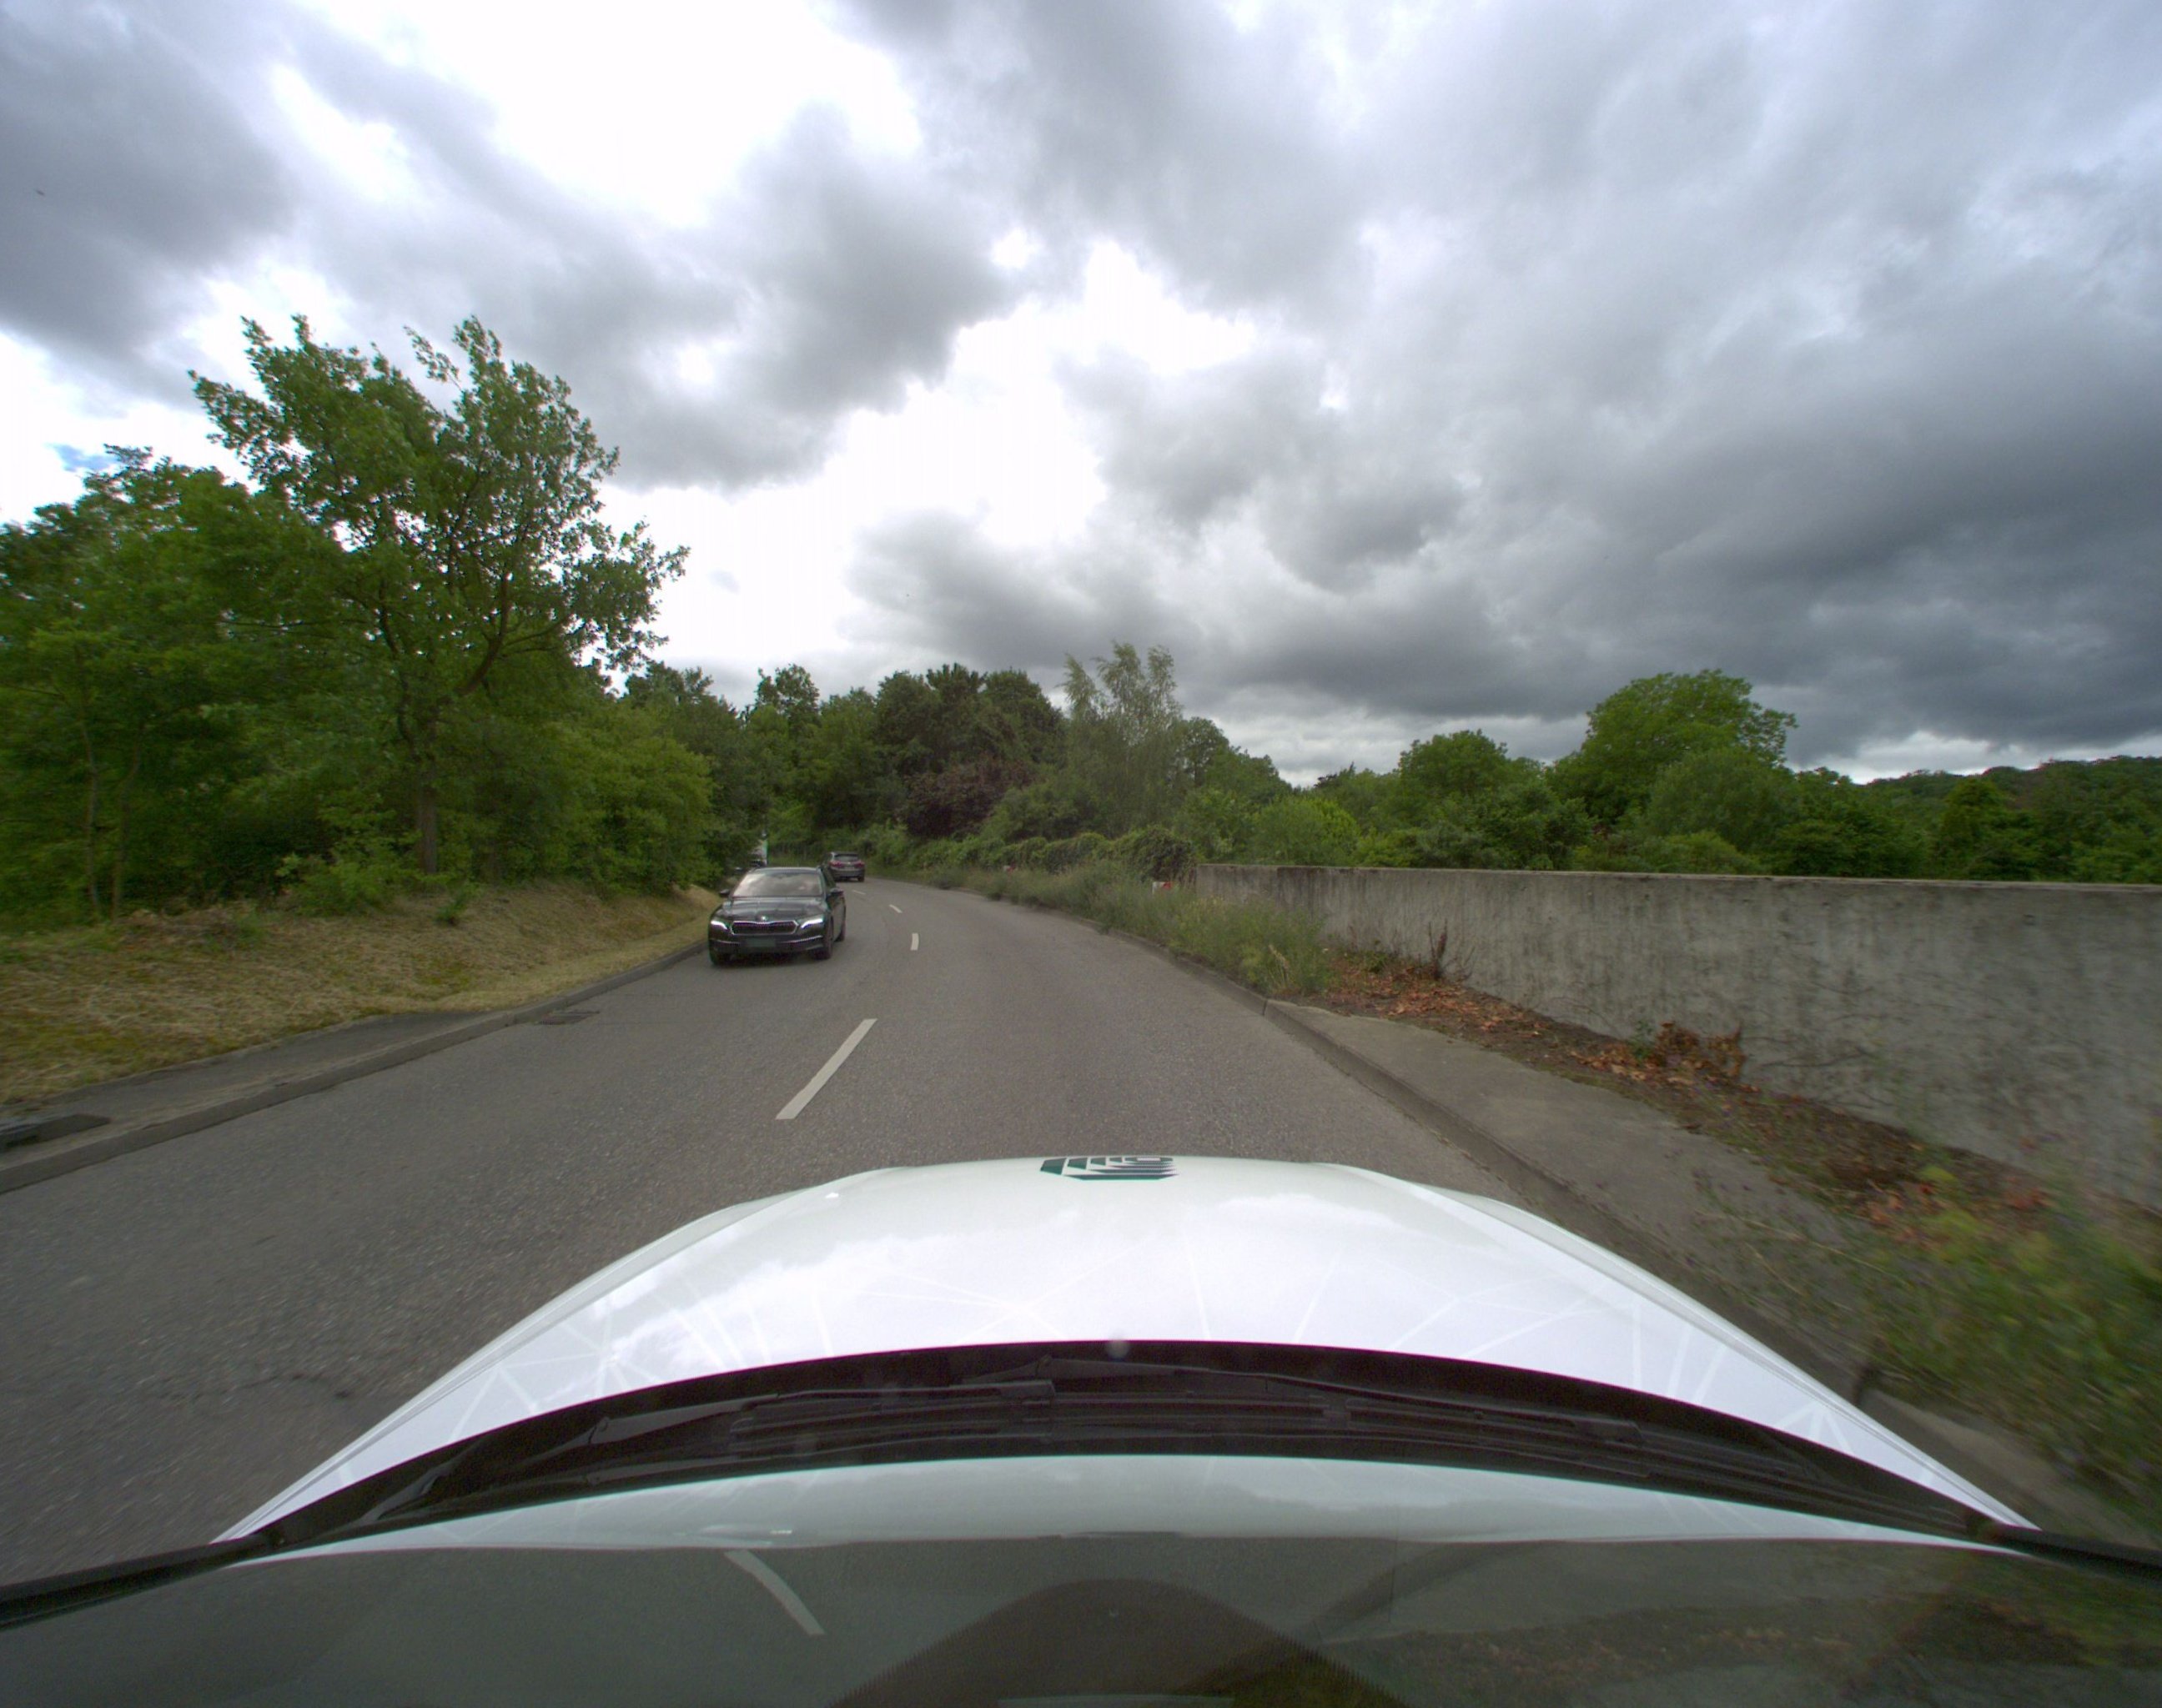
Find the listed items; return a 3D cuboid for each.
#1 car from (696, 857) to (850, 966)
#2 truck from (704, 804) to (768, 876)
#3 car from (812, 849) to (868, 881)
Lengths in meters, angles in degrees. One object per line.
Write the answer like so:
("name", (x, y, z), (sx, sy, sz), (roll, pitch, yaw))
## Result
("car", (-5.060, 0.871, 13.973), (1.738, 1.495, 4.416), (-2, -1, -12))
("truck", (-20.572, -0.721, 48.356), (2.722, 3.950, 6.267), (-1, -1, -30))
("car", (-12.298, 0.602, 41.349), (1.851, 1.483, 3.962), (-2, -1, -29))
